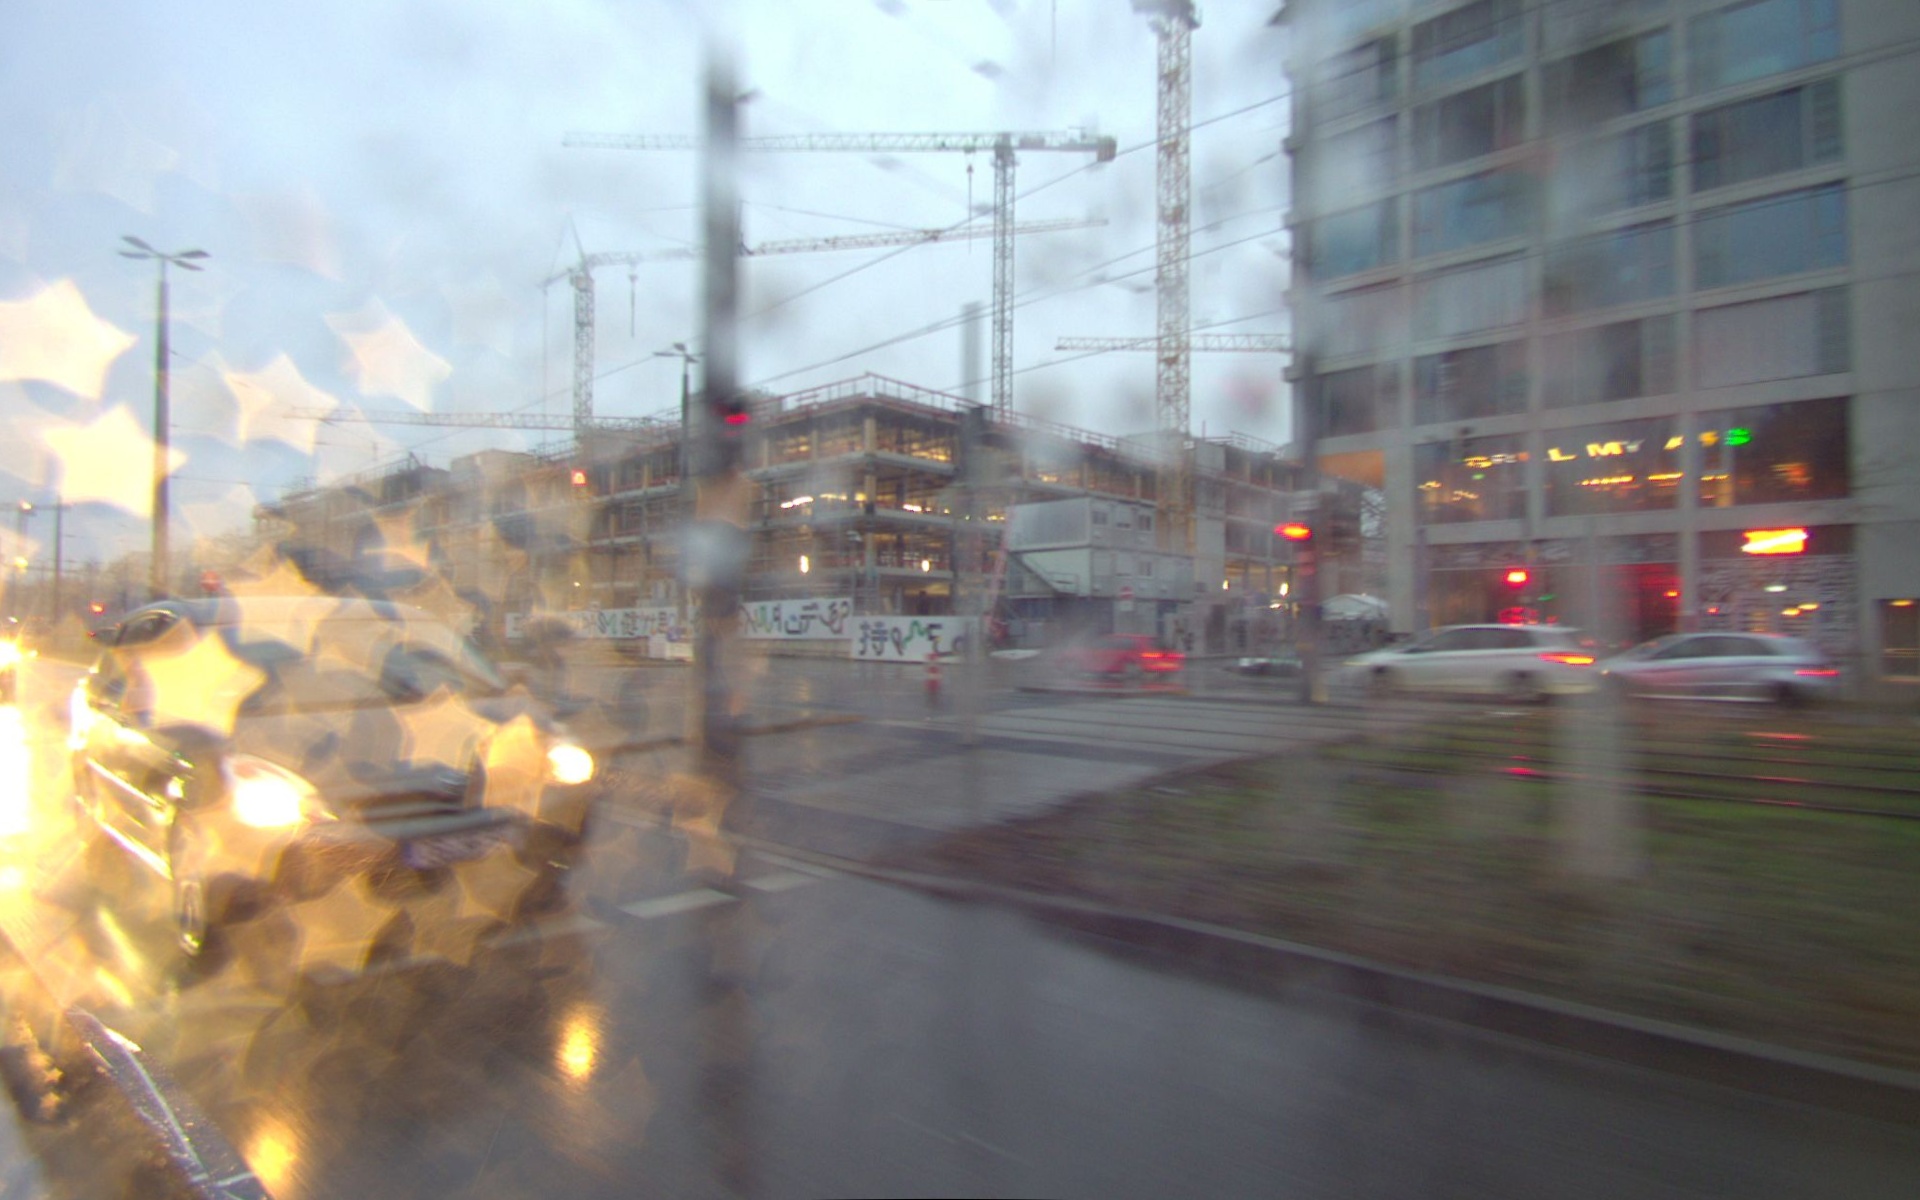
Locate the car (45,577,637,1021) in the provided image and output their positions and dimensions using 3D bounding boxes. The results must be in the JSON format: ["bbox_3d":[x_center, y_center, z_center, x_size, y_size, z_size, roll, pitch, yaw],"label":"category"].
[{"bbox_3d":[-3.658,0.752,5.653,3.998,1.606,1.741,-1,-1,42],"label":"car"}]

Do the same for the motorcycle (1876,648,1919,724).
[{"bbox_3d":[15.065,1.252,14.401,2.966,1.065,0.861,-1,-1,42],"label":"motorcycle"}]

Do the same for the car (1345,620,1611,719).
[{"bbox_3d":[10.649,1.353,21.029,4.598,1.803,1.861,-1,-1,43],"label":"car"}]

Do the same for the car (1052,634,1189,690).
[{"bbox_3d":[5.060,1.911,32.248,1.859,1.586,4.005,0,-1,-42],"label":"car"}]

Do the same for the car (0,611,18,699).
[{"bbox_3d":[-21.012,1.132,21.003,4.000,1.746,1.833,-1,-1,43],"label":"car"}]

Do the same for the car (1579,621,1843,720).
[{"bbox_3d":[15.452,1.367,20.958,4.176,1.803,1.860,-1,-1,44],"label":"car"}]
